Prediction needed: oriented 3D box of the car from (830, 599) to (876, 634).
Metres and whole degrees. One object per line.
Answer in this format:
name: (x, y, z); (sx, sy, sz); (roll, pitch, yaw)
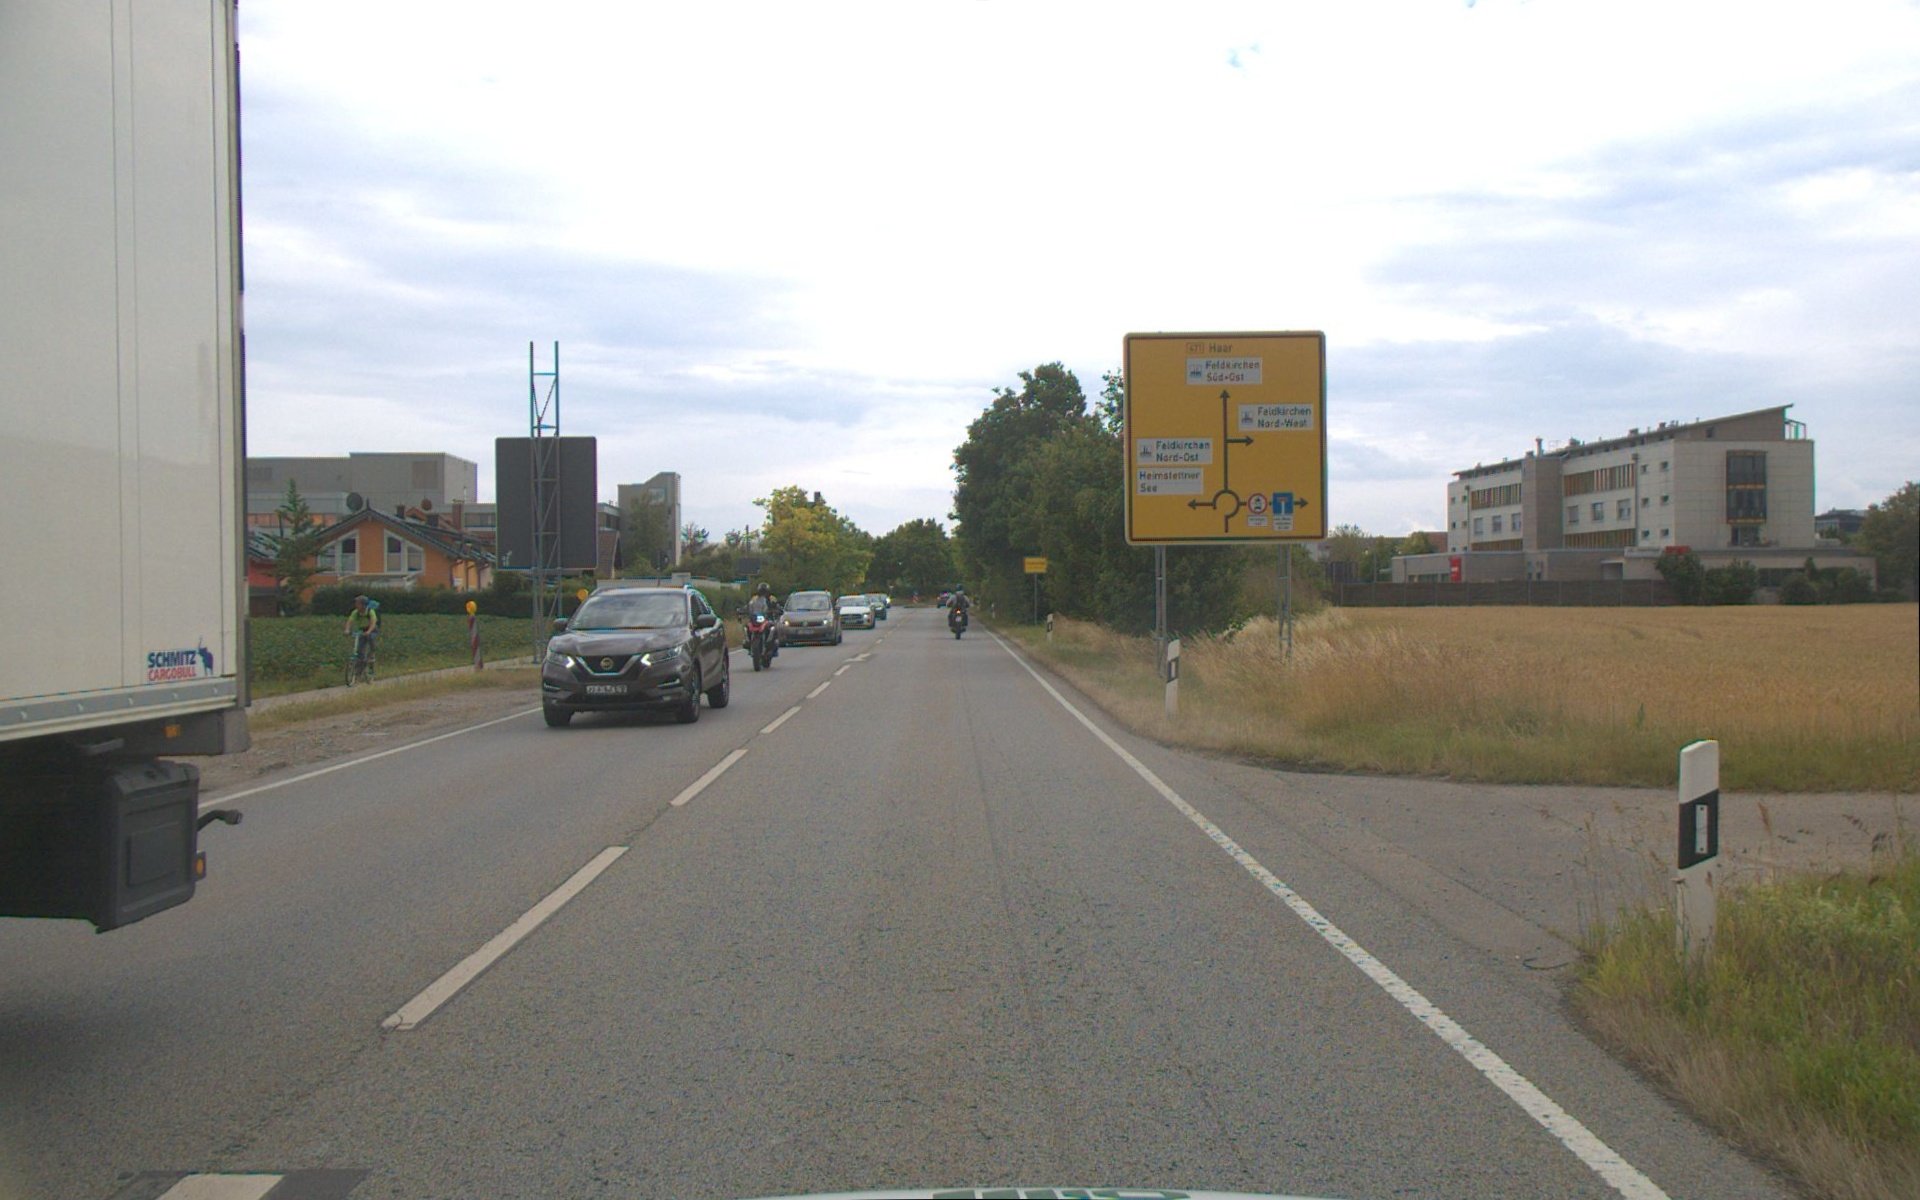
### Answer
car: (-4.576, 0.675, 71.322); (1.737, 1.397, 4.099); (-2, 0, -1)

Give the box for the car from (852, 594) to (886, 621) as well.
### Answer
car: (-5.213, 0.397, 95.298); (1.815, 1.490, 4.369); (-1, 0, -1)

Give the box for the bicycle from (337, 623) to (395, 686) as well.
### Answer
bicycle: (-11.959, 1.085, 33.359); (0.518, 1.176, 1.794); (-2, 0, -1)

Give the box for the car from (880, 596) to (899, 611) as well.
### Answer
car: (-7.192, 0.347, 169.556); (1.779, 1.520, 4.203); (-2, 0, -1)

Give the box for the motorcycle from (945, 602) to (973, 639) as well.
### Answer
motorcycle: (-0.047, 0.664, 54.644); (0.878, 1.178, 2.620); (0, 0, -1)

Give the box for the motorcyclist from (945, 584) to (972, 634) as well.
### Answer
motorcyclist: (-0.053, 0.290, 54.626); (0.844, 1.652, 1.190); (0, 0, -1)

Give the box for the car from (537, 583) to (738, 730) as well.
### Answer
car: (-3.945, 0.633, 20.933); (1.694, 1.614, 4.504); (-1, 0, -1)

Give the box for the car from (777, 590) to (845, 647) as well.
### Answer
car: (-4.408, 0.516, 49.464); (1.670, 1.566, 4.300); (-2, 0, -1)

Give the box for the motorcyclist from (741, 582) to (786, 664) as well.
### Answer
motorcyclist: (-3.892, 0.442, 32.880); (0.781, 1.601, 1.078); (0, 0, -1)

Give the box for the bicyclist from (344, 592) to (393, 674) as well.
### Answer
bicyclist: (-11.979, 0.652, 33.506); (0.518, 1.612, 1.222); (-2, 0, -1)

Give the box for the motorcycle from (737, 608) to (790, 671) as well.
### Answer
motorcycle: (-3.889, 0.761, 32.888); (0.781, 1.178, 2.620); (0, 0, -1)
